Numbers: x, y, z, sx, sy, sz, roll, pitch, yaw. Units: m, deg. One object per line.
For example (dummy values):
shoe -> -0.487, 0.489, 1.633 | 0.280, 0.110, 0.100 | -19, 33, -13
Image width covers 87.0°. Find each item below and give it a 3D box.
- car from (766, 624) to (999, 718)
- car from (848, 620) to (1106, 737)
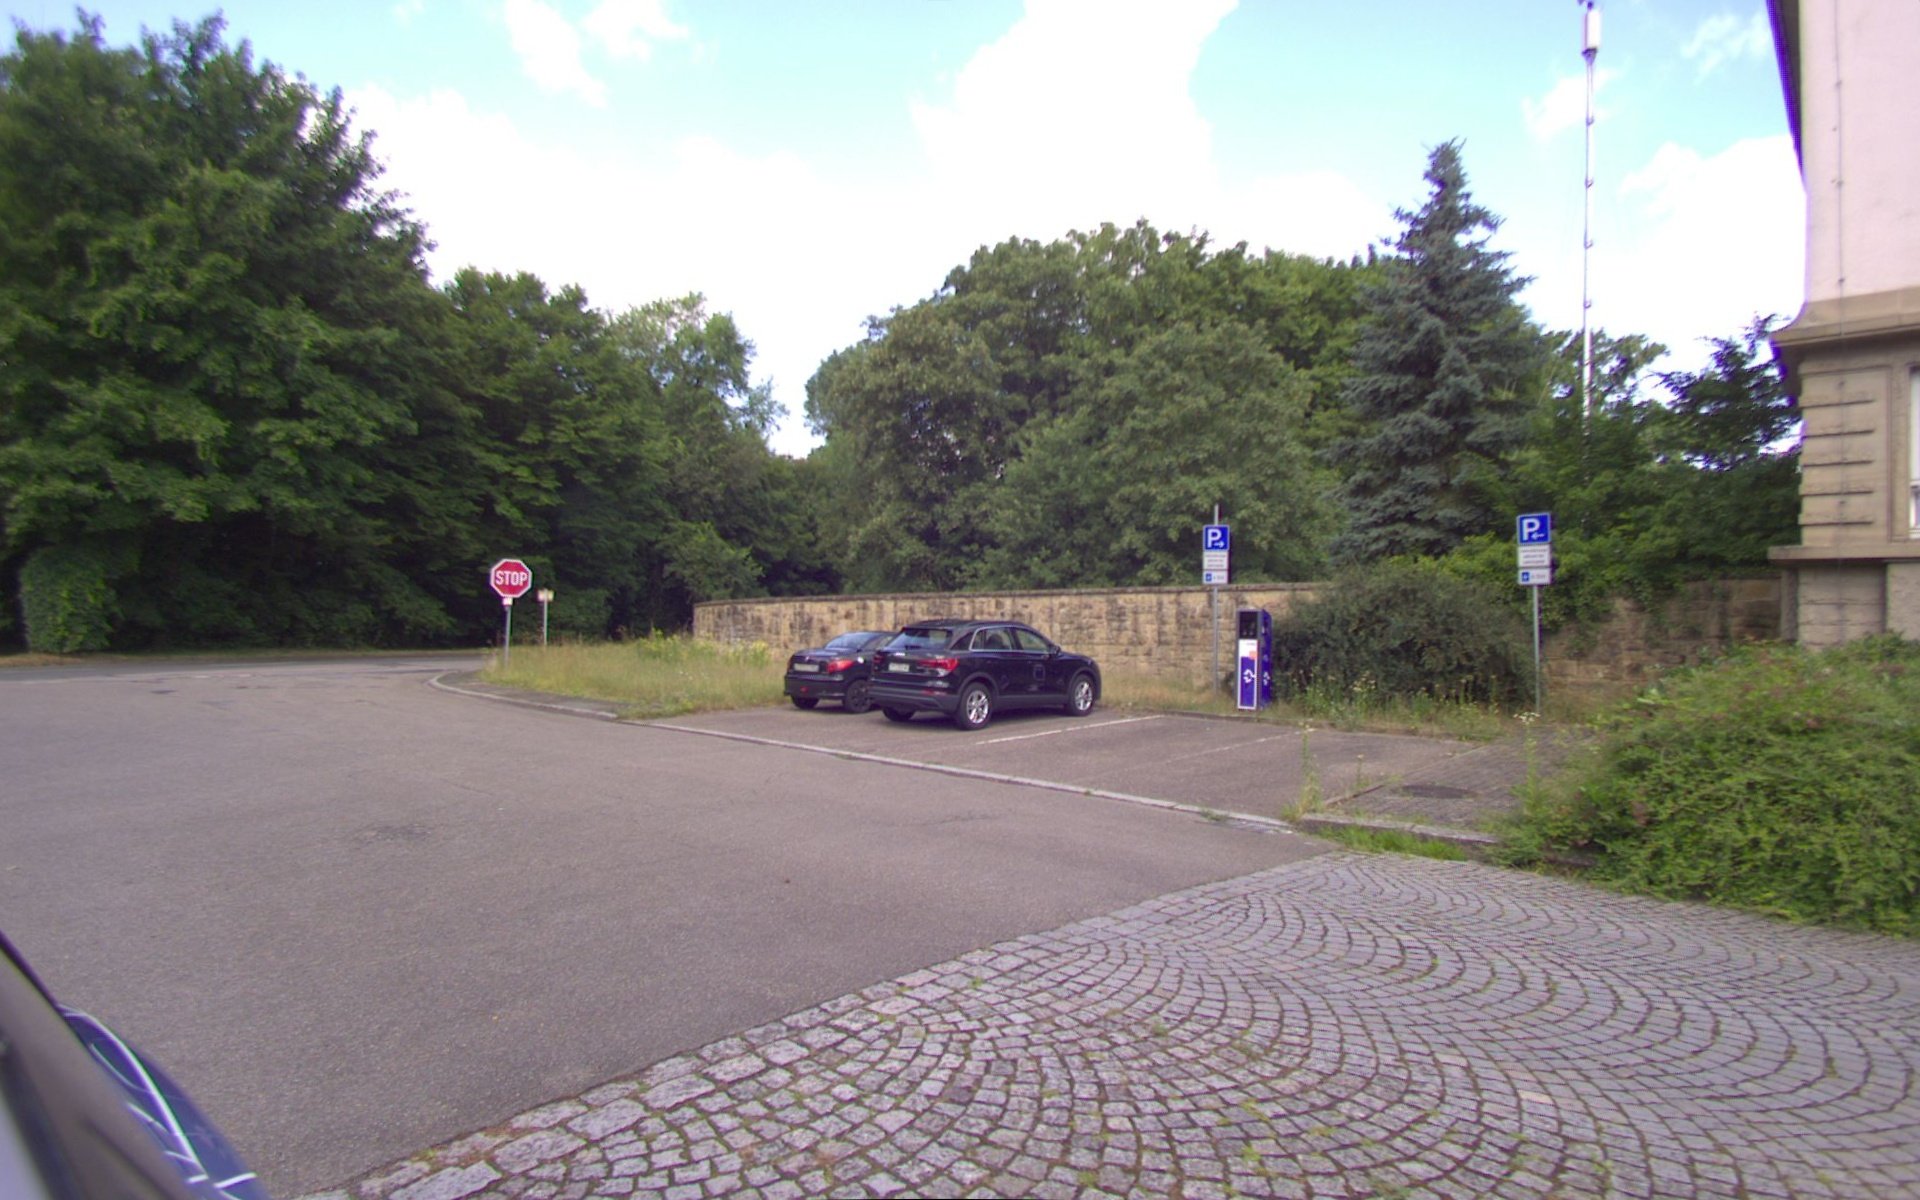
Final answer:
car -> -1.323, 1.190, 18.305 | 3.941, 1.452, 1.881 | 0, -1, -45
car -> 0.360, 1.124, 15.997 | 1.901, 1.558, 3.941 | -1, -1, 45
